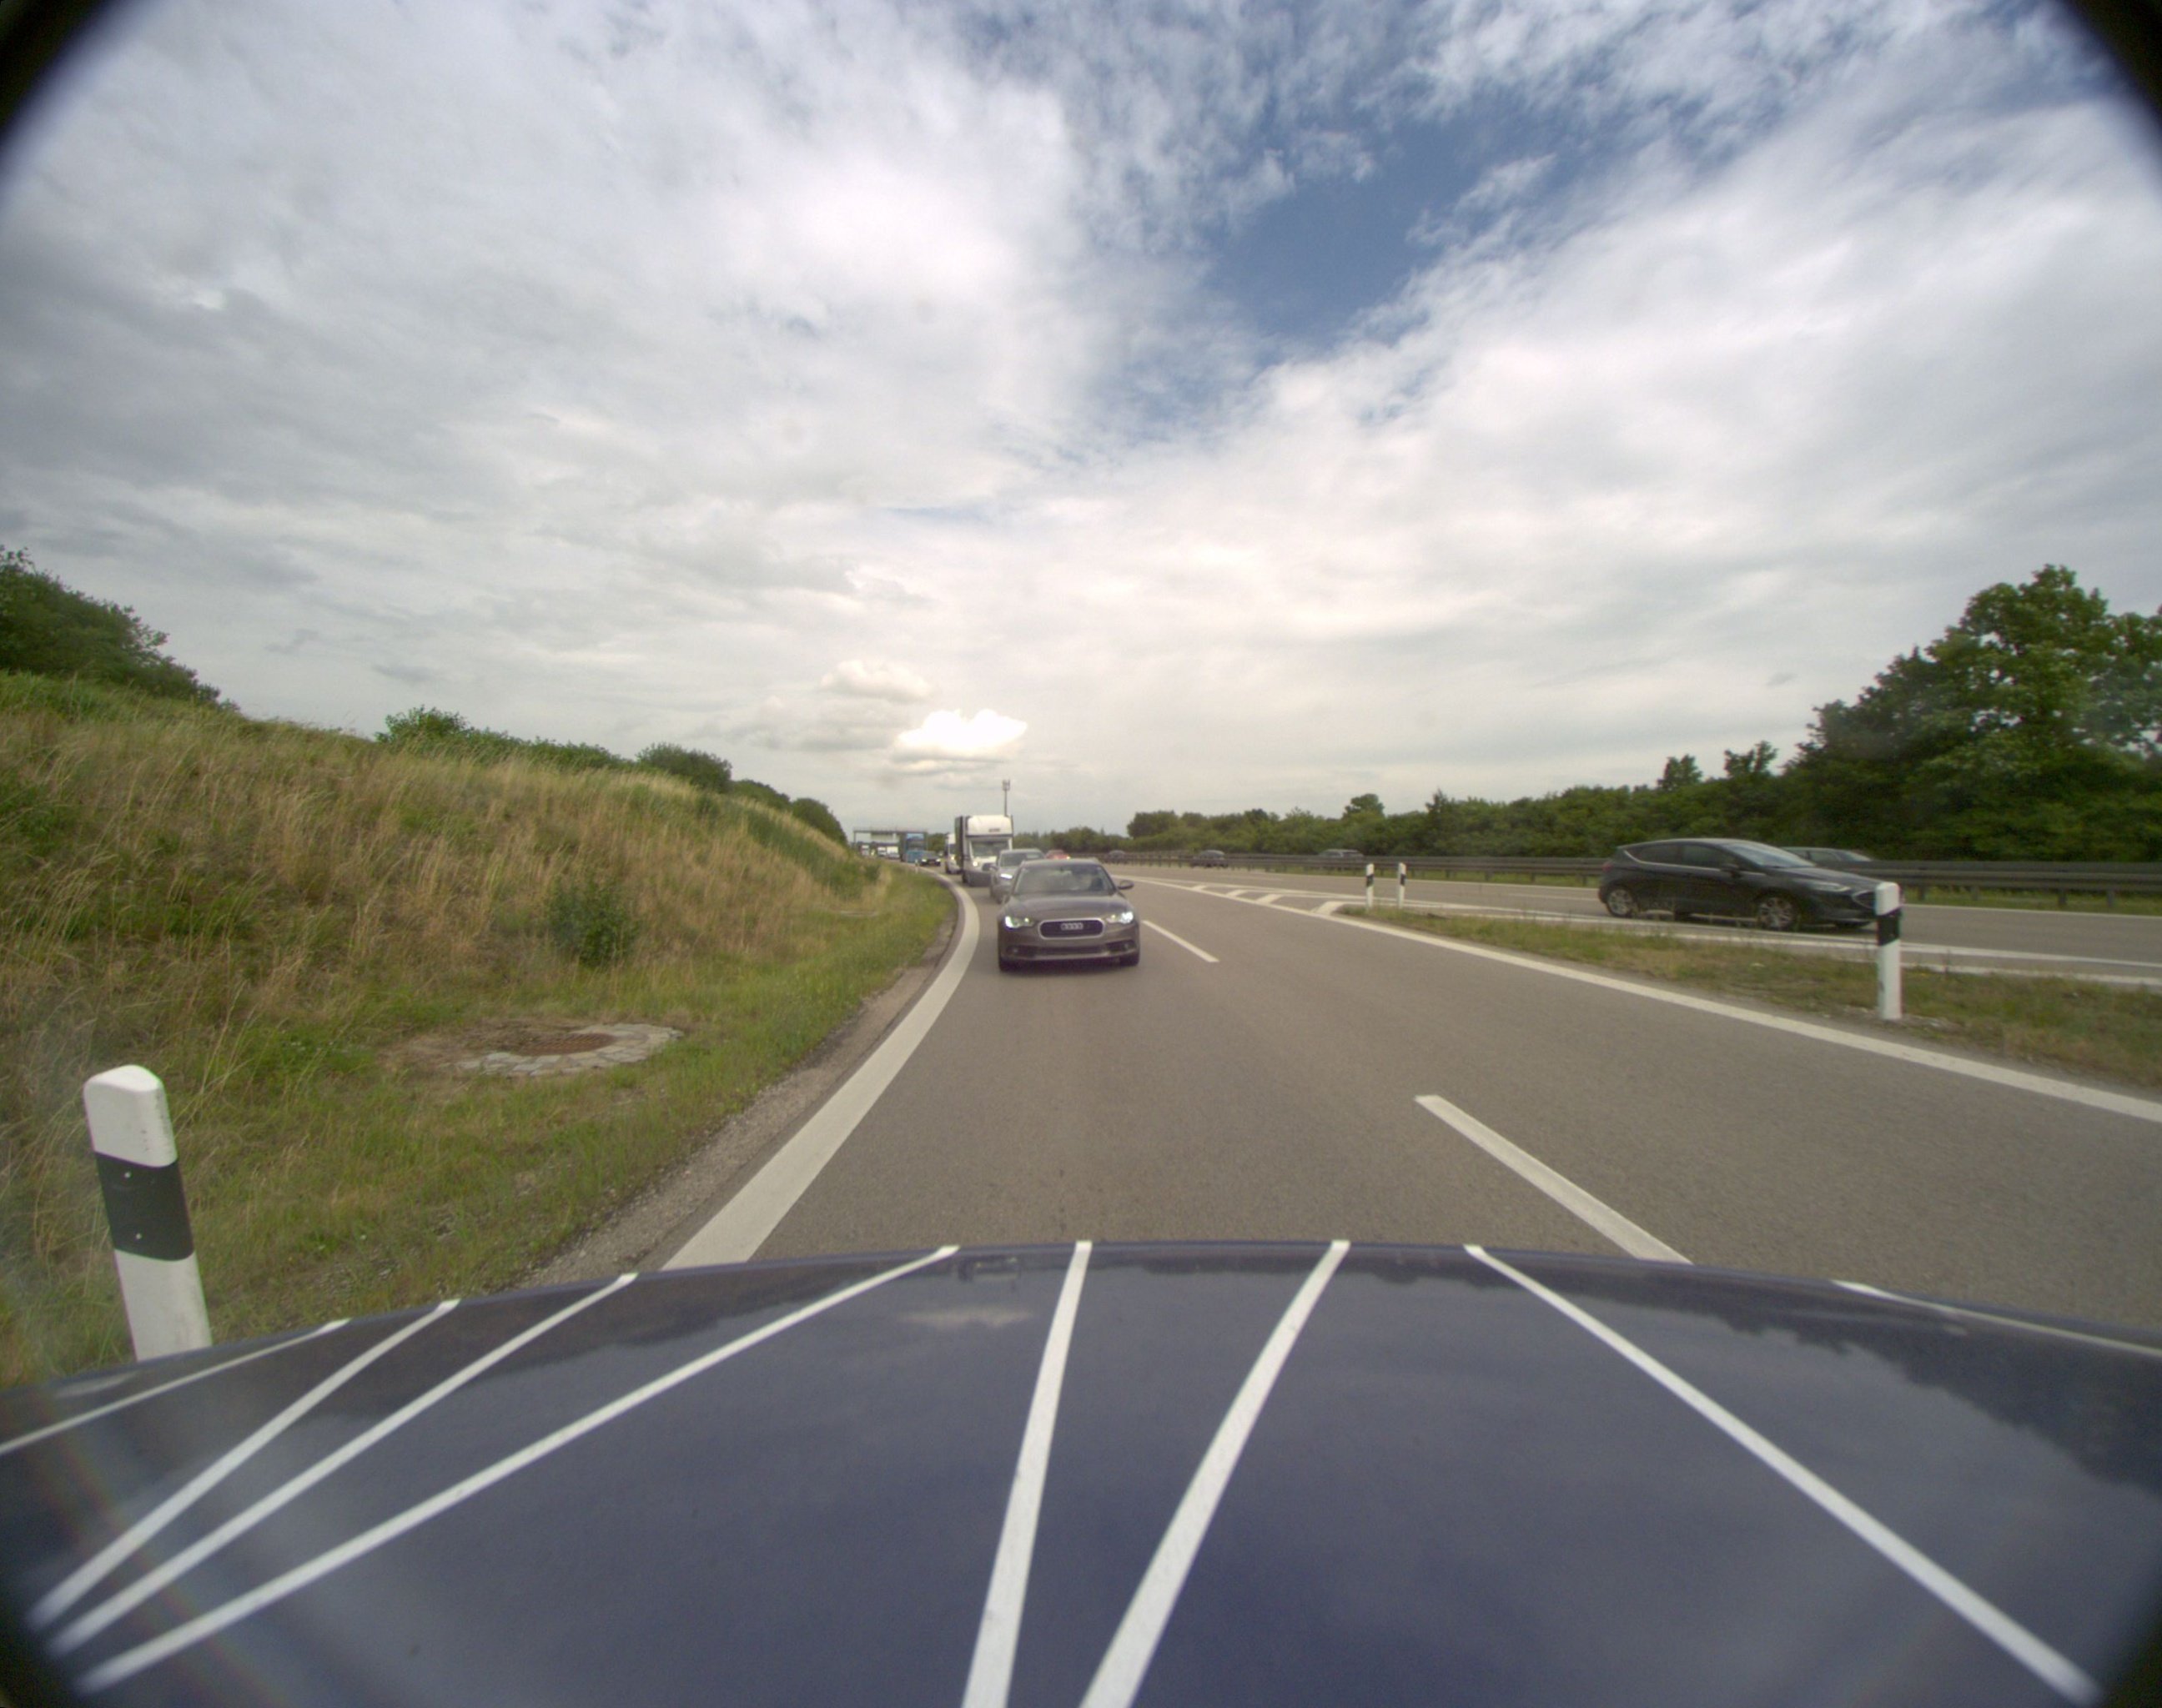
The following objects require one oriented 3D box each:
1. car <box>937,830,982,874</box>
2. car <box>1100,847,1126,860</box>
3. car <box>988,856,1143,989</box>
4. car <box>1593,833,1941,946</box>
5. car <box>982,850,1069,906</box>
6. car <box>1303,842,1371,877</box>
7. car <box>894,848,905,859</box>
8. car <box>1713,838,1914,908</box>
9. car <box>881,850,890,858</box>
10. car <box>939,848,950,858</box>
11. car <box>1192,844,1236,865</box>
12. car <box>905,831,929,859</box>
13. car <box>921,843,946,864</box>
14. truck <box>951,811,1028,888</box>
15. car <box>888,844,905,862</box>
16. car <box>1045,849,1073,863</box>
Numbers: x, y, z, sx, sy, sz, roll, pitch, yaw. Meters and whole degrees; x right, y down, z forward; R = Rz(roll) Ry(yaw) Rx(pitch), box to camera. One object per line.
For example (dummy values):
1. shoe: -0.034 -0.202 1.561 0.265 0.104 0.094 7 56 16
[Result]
1. car: -8.350 -0.163 51.850 2.023 2.729 6.917 -1 1 -17
2. car: 4.093 -0.057 97.008 2.001 1.652 4.557 -1 1 -15
3. car: -0.307 0.842 11.307 1.849 1.489 4.027 -2 1 -4
4. car: 11.048 0.466 12.666 1.717 1.546 3.994 -1 1 -16
5. car: -1.858 0.675 24.147 2.001 1.567 3.994 -1 1 -15
6. car: 15.594 0.295 46.559 1.932 2.002 4.212 -1 1 -15
7. car: -35.367 -0.067 147.912 1.932 2.020 3.994 -1 1 -16
8. car: 23.099 0.530 24.209 1.932 2.002 4.212 -1 1 -15
9. car: -51.996 -0.117 202.383 2.001 2.002 3.993 -3 2 -17
10. car: -29.201 -0.260 162.883 2.001 2.002 3.994 -1 1 -15
11. car: 10.954 0.005 63.044 2.001 1.674 3.993 -1 1 -17
12. car: -22.934 -1.283 106.096 2.508 3.689 7.689 -1 1 -17
13. car: -14.680 -0.055 75.643 2.001 2.002 3.994 -1 1 -16
14. truck: -4.447 -0.253 35.630 2.452 3.217 7.180 -1 1 -16
15. car: -37.597 -0.262 154.771 2.950 3.447 6.560 -1 1 -17
16. car: -2.195 0.205 76.059 1.748 1.334 3.993 -1 1 -18
